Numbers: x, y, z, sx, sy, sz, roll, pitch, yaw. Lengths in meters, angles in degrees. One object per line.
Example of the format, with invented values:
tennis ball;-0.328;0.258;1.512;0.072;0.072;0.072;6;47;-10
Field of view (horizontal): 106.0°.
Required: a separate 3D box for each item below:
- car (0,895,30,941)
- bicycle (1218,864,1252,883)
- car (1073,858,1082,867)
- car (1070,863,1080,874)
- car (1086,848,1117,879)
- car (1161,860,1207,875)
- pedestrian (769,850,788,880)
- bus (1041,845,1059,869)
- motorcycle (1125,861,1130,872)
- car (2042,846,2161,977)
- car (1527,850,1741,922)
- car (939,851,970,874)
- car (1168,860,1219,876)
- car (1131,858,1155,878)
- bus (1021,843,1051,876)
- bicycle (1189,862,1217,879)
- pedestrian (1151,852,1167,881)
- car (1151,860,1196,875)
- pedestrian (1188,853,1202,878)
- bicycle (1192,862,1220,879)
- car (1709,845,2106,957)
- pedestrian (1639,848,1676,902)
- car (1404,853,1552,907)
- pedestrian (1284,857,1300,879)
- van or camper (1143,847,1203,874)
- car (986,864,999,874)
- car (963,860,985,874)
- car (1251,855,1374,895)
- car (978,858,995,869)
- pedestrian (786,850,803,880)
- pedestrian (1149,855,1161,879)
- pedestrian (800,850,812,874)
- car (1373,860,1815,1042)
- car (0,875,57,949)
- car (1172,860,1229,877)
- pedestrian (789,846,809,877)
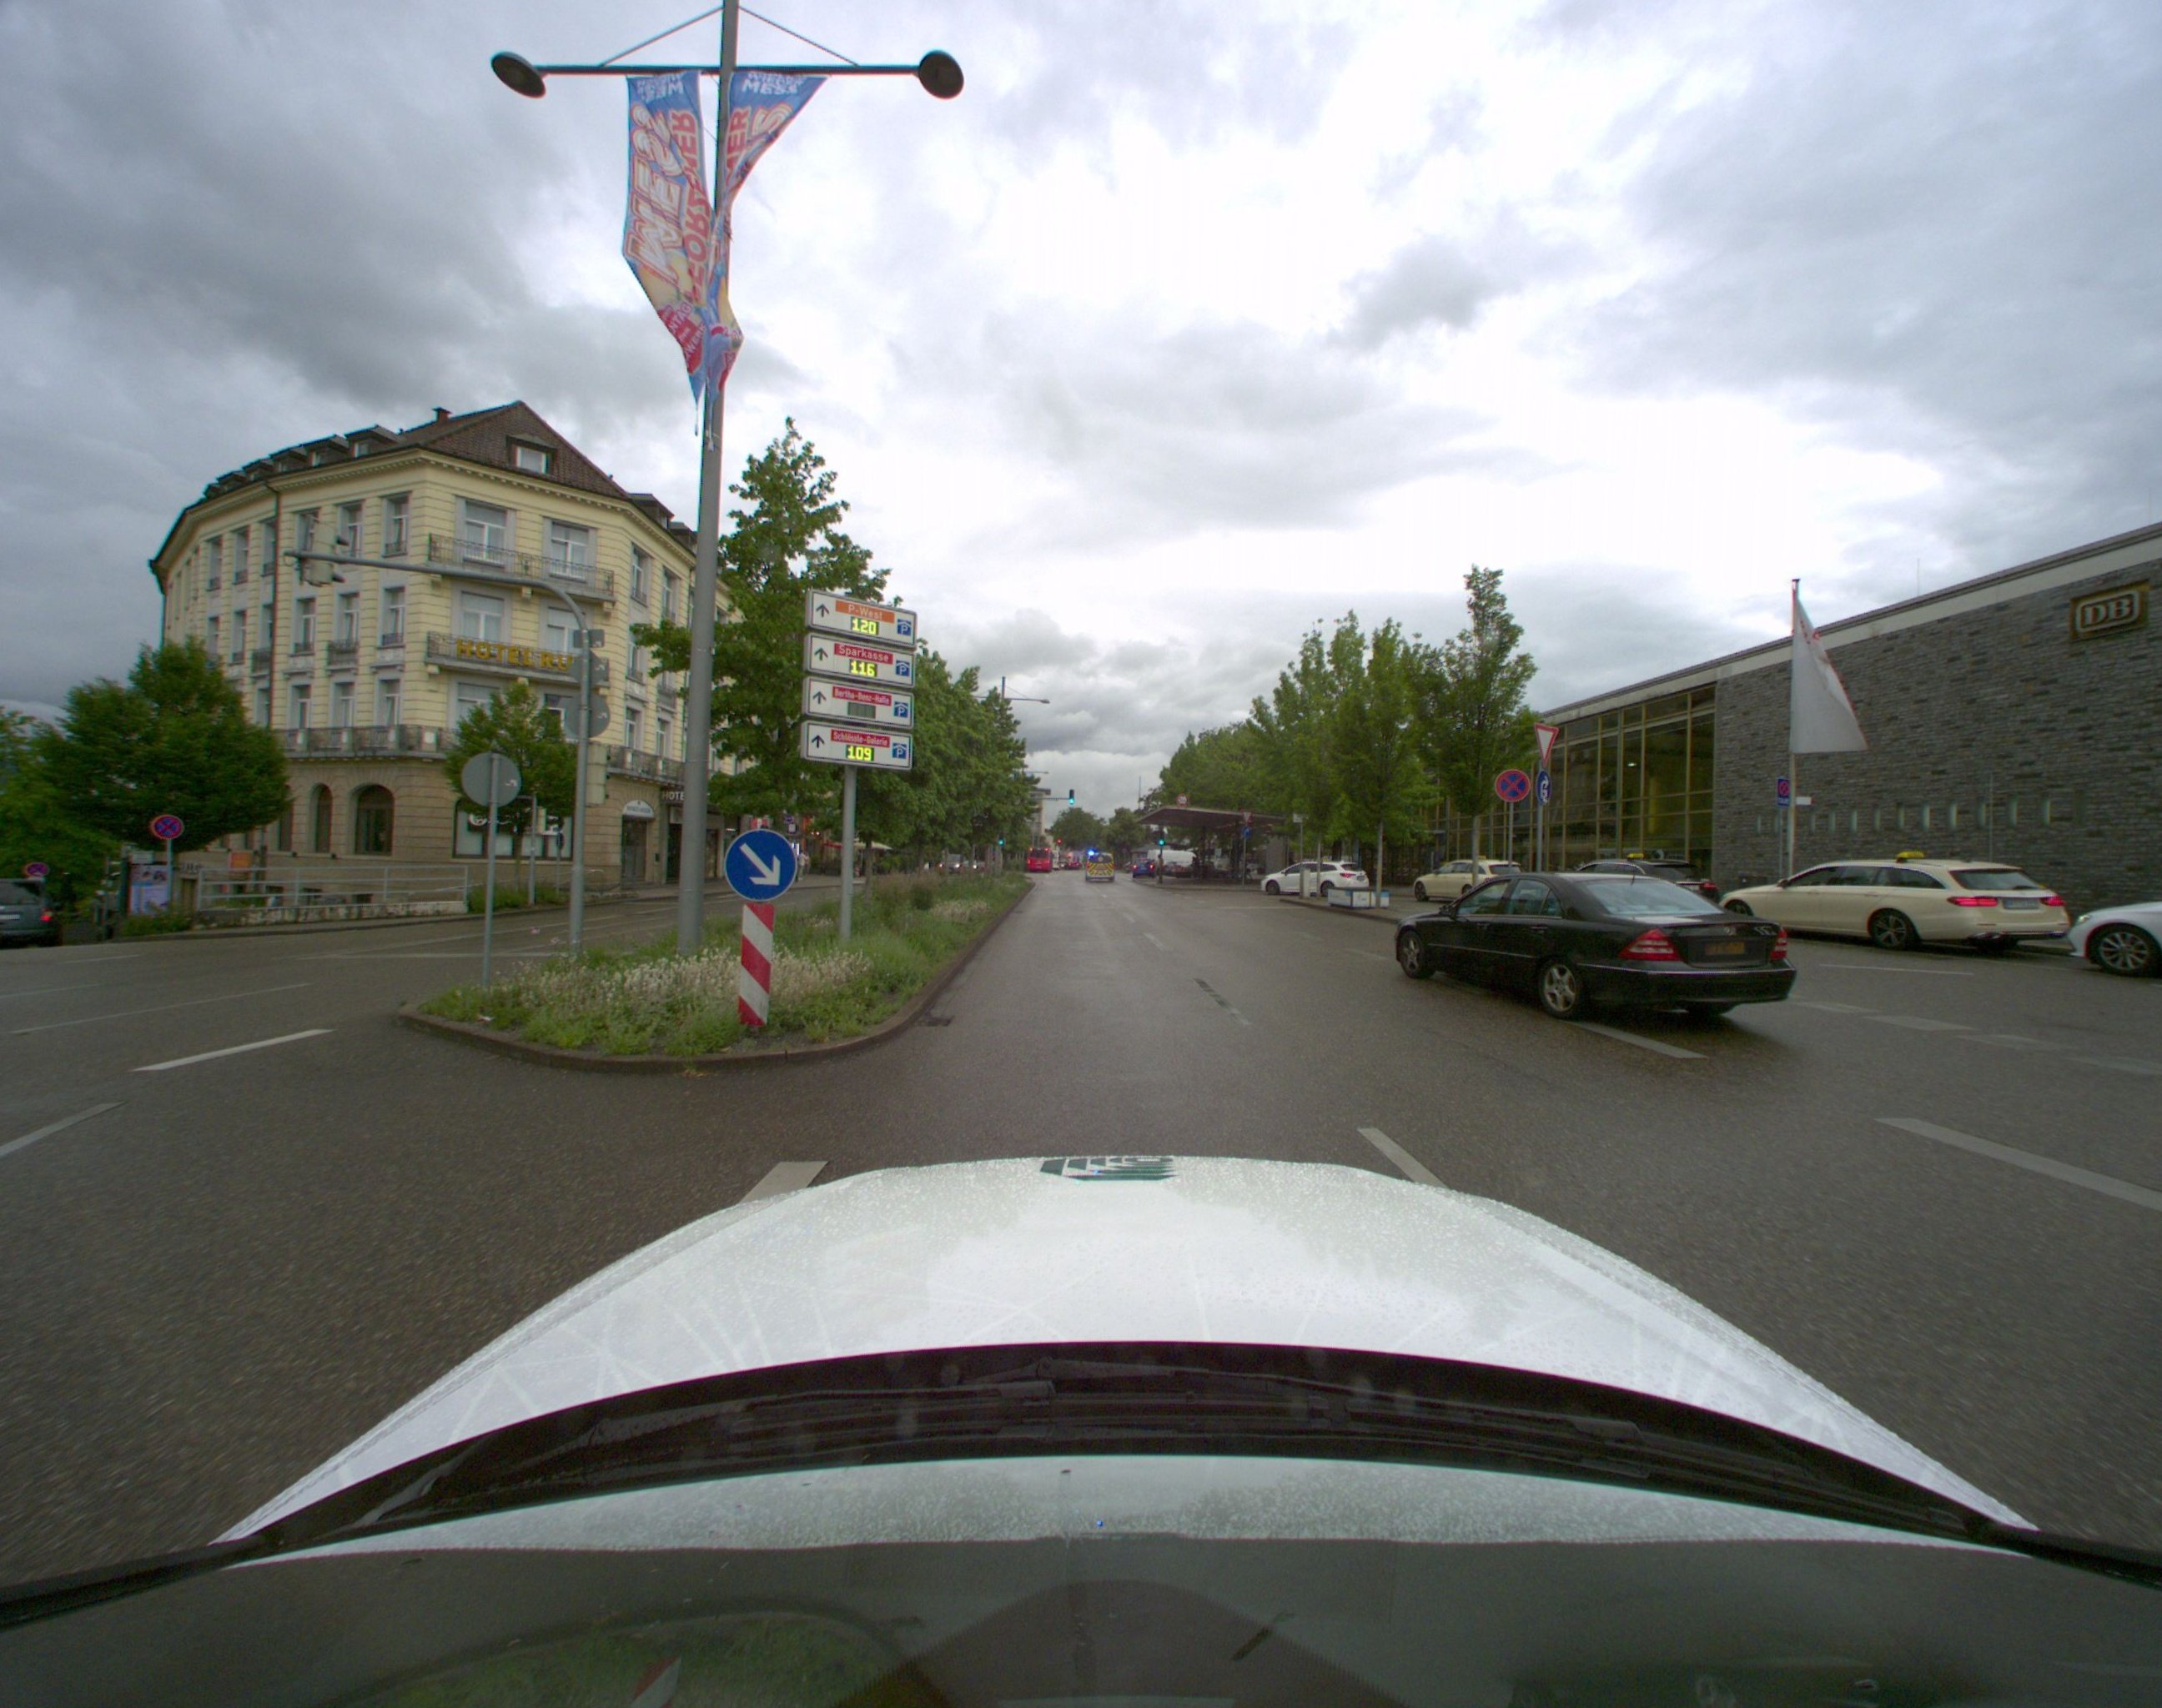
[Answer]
car;-37.982;2.224;28.137;3.948;1.478;1.781;-2;-1;34
bicycle;8.601;1.081;45.577;1.822;1.056;0.420;-1;-1;-2
car;-0.754;1.784;170.797;1.988;2.014;3.998;-1;-1;-1
car;-1.178;2.744;155.373;1.988;2.014;3.998;-1;-1;-1
car;1.345;0.646;55.447;1.987;2.014;5.060;-1;-1;0
car;9.760;1.297;77.075;4.009;1.443;1.848;1;-1;-28
pedestrian;-16.801;0.611;45.259;0.679;1.664;0.807;-1;-1;2
bus;-5.191;0.601;136.152;2.799;3.747;10.434;-1;-1;-3
motorcycle;5.801;1.567;102.089;0.592;1.288;1.956;-1;0;5
car;14.156;0.670;8.725;1.874;1.599;4.900;-1;-1;-1
car;13.804;0.723;20.781;1.988;1.599;4.954;1;0;-2
car;-11.667;0.809;75.167;1.987;2.014;5.001;-1;-1;0
car;9.492;1.200;68.522;4.013;1.359;1.846;1;-1;-32
car;5.127;1.175;67.845;1.851;1.569;4.002;0;-1;3
bus;-5.784;0.776;105.456;3.536;3.979;11.159;-1;-1;-3
bicycle;8.151;1.100;54.479;1.833;1.056;0.417;-1;-1;-20
pedestrian;4.741;0.779;49.600;0.746;1.747;0.833;0;-1;-9
car;8.990;1.337;79.250;4.009;1.443;1.848;1;-1;-28
pedestrian;8.186;0.827;58.524;0.854;1.835;1.189;0;-1;-2
bicycle;8.270;1.099;54.035;1.833;1.056;0.417;-1;-1;-20
car;14.066;0.695;14.452;1.988;1.599;4.956;-1;0;-1
pedestrian;17.649;0.637;24.939;0.787;1.626;0.727;-2;-1;44
car;13.124;0.805;27.341;1.993;1.599;4.943;-1;0;-9
pedestrian;15.649;1.041;60.470;0.864;1.559;0.812;-1;-1;-8
van or camper;9.662;0.673;85.332;5.981;2.763;2.178;-1;-1;-29
car;-13.606;2.279;125.233;1.593;1.531;3.651;-1;-1;-1
car;-12.193;1.450;92.924;1.988;1.543;4.631;-1;-1;-1
car;9.536;0.859;33.836;1.773;1.546;4.720;1;-1;-41
car;-12.066;1.239;104.617;1.742;1.430;3.951;-1;-1;-1
pedestrian;-15.922;0.603;45.298;0.679;1.664;0.806;-1;-1;-1
pedestrian;6.223;1.097;68.182;0.830;2.014;0.887;-1;-1;-6
pedestrian;-19.125;0.562;56.645;0.666;1.664;0.535;-1;-1;-10
car;5.130;0.830;9.043;1.693;1.466;4.440;-1;-1;-8
car;-28.412;1.488;21.534;3.948;1.759;1.645;0;0;39
car;9.532;1.159;64.858;4.201;1.325;1.827;1;-1;-21
pedestrian;-17.091;0.447;49.363;0.877;1.813;0.750;-2;-1;-2
